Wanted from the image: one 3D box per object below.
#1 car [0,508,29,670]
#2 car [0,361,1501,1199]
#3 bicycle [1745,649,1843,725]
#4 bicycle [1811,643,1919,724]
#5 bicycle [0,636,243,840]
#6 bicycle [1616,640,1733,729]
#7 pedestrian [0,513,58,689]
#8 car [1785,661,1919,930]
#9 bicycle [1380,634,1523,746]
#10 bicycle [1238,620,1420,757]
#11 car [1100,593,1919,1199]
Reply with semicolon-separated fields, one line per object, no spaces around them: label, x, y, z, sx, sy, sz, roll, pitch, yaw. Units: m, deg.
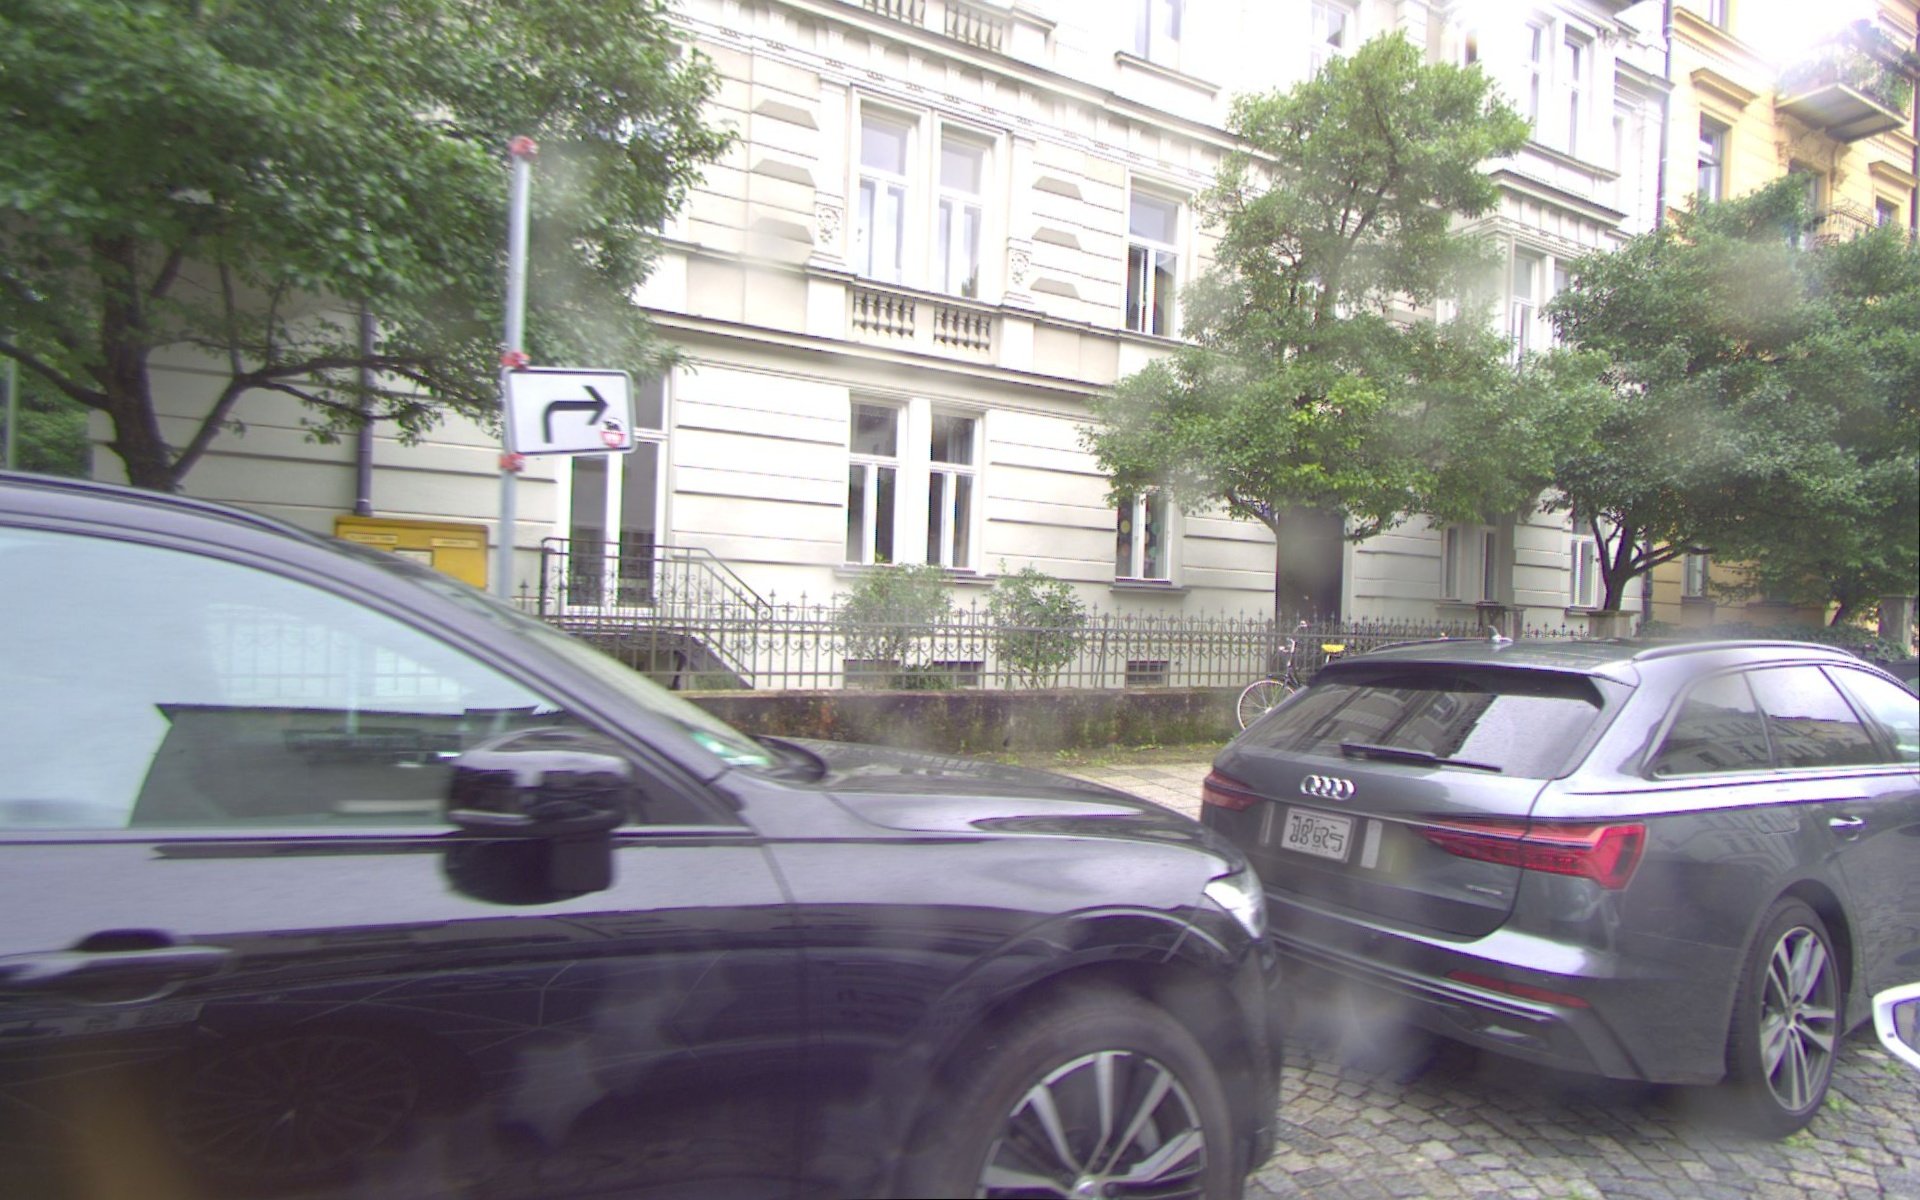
car;-13.557;-0.162;12.029;2.182;2.237;4.823;1;0;-26
car;-1.415;0.626;1.977;4.991;1.673;1.931;3;-4;-28
bicycle;12.255;1.278;14.742;1.742;1.041;0.416;3;1;-27
bicycle;13.951;1.288;15.405;1.735;1.158;0.418;3;1;-15
bicycle;-5.200;0.743;5.559;1.901;1.042;0.554;2;1;-22
bicycle;9.533;1.122;13.388;1.808;1.117;0.370;2;0;-24
pedestrian;-9.826;-0.004;10.079;0.848;1.712;0.970;1;0;-23
car;7.267;1.196;6.550;3.682;1.536;1.696;2;-2;-29
bicycle;5.474;0.990;11.146;1.864;1.148;0.361;3;1;-28
bicycle;3.737;0.873;10.106;1.955;1.265;0.498;3;1;-28
car;3.196;0.860;4.416;5.117;1.524;1.796;2;-3;-30
